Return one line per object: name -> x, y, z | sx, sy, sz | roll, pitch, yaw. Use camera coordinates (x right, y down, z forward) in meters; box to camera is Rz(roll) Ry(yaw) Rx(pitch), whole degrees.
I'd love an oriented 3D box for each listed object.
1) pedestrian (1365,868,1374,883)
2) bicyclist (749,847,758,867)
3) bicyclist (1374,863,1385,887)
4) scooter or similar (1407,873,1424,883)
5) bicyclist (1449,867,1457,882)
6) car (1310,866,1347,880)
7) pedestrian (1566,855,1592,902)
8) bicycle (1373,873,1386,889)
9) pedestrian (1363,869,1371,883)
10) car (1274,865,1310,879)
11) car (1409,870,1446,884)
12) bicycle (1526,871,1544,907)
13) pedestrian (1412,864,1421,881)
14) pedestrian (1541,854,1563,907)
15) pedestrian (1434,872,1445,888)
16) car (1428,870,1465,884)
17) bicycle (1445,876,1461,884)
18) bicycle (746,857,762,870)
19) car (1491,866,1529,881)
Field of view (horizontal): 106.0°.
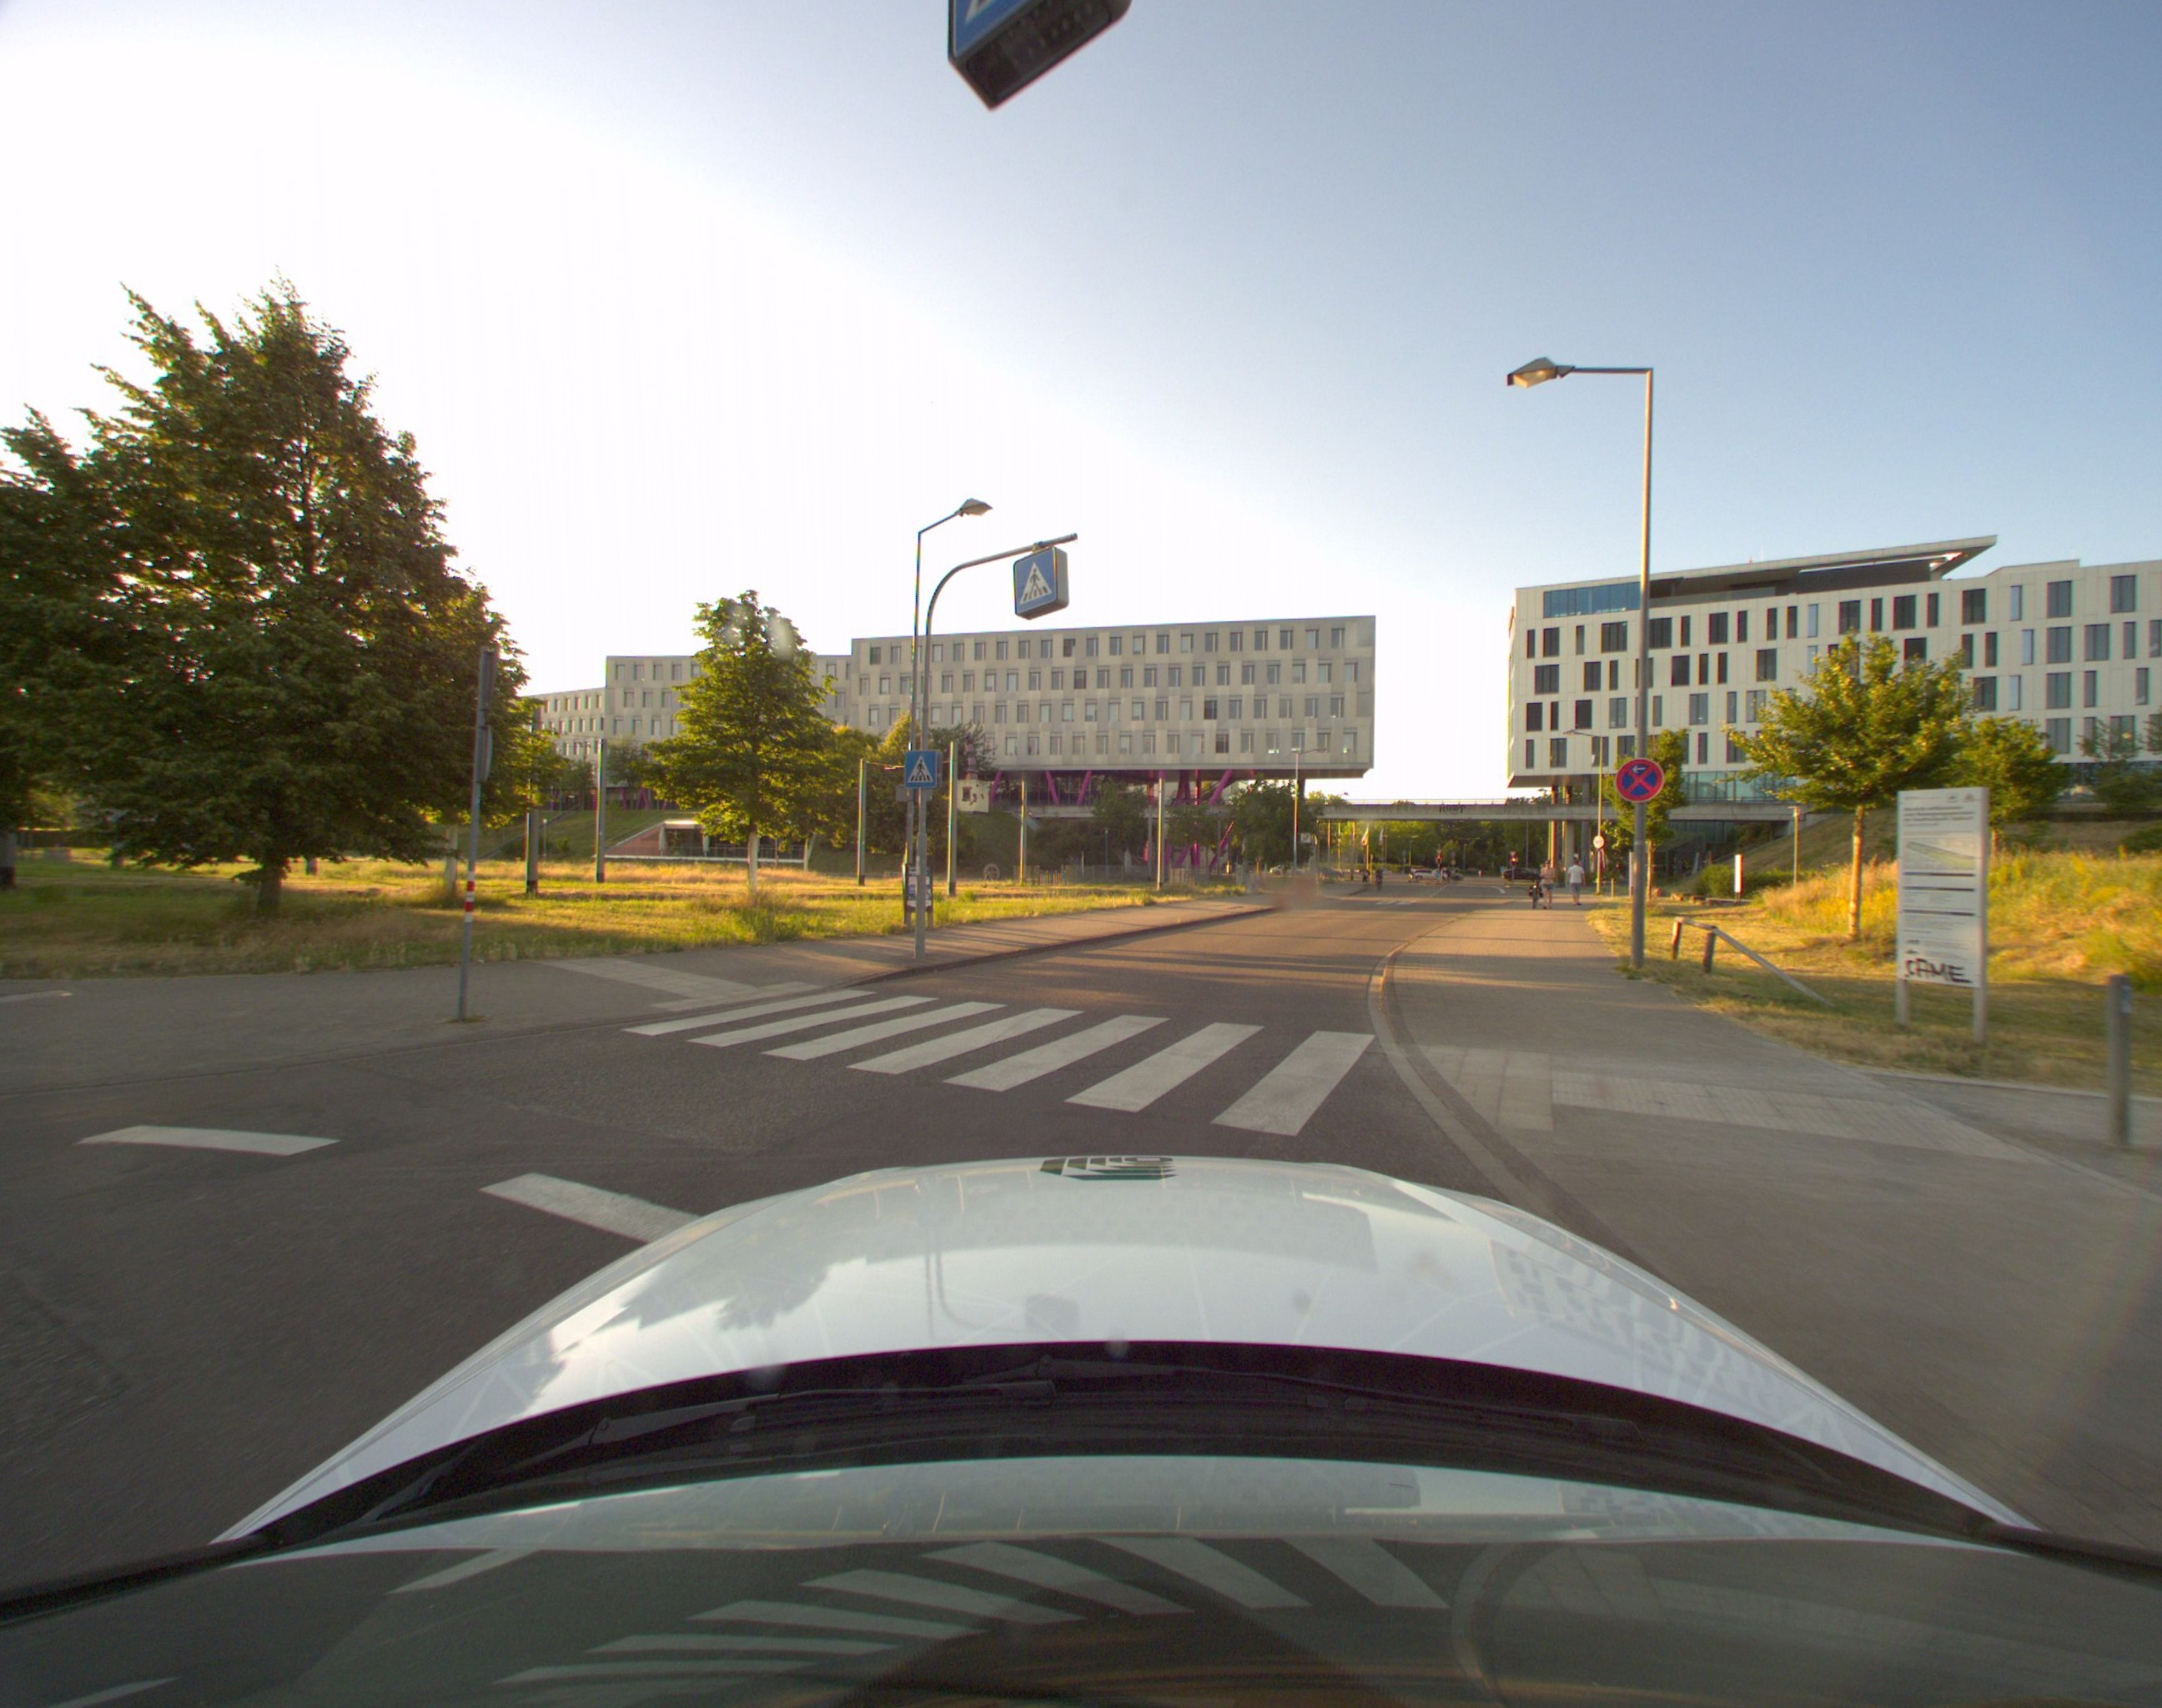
pedestrian -> 34.267, 2.540, 96.764 | 0.694, 1.664, 0.716 | 1, 1, 43
bicyclist -> -24.800, 0.252, 61.665 | 0.507, 1.494, 0.427 | 1, 0, 28
bicyclist -> 21.625, 1.511, 58.988 | 0.609, 1.662, 1.043 | 1, 1, 31
scooter or similar -> 39.544, 2.865, 96.341 | 1.845, 1.174, 0.767 | 1, 0, 18
bicyclist -> 43.197, 2.392, 94.484 | 0.759, 1.704, 0.515 | 1, 0, 29
car -> 33.649, 2.550, 110.792 | 4.677, 1.828, 1.901 | 1, 1, 17
pedestrian -> 19.293, 0.918, 31.534 | 0.823, 1.766, 0.823 | 1, 0, 33
bicycle -> 21.621, 1.933, 58.991 | 0.533, 1.043, 1.937 | 1, 1, 31
pedestrian -> 33.741, 2.622, 96.165 | 0.679, 1.624, 0.716 | 1, 1, 43
car -> 29.916, 2.481, 115.652 | 4.643, 1.828, 1.846 | 1, 1, 27
car -> 45.106, 3.012, 106.139 | 4.374, 1.724, 1.845 | 1, 1, 24
bicycle -> 16.031, 1.230, 28.722 | 0.445, 1.168, 1.953 | 1, 1, 32
pedestrian -> 39.643, 2.182, 96.319 | 0.901, 1.990, 0.775 | 1, 0, 18
pedestrian -> 16.444, 0.895, 28.421 | 0.589, 1.802, 0.823 | 1, 0, 33
pedestrian -> 40.826, 2.937, 92.796 | 1.046, 1.834, 0.898 | 0, 0, 13
car -> 48.591, 3.053, 108.393 | 4.373, 1.799, 1.846 | 1, 1, 27
bicycle -> 43.196, 3.013, 94.488 | 1.677, 0.948, 0.515 | 1, 1, 29
bicycle -> -24.761, 0.723, 61.644 | 1.220, 0.900, 0.433 | 1, 1, 27
car -> 56.748, 2.551, 107.854 | 4.373, 1.799, 1.846 | 1, 1, 27
